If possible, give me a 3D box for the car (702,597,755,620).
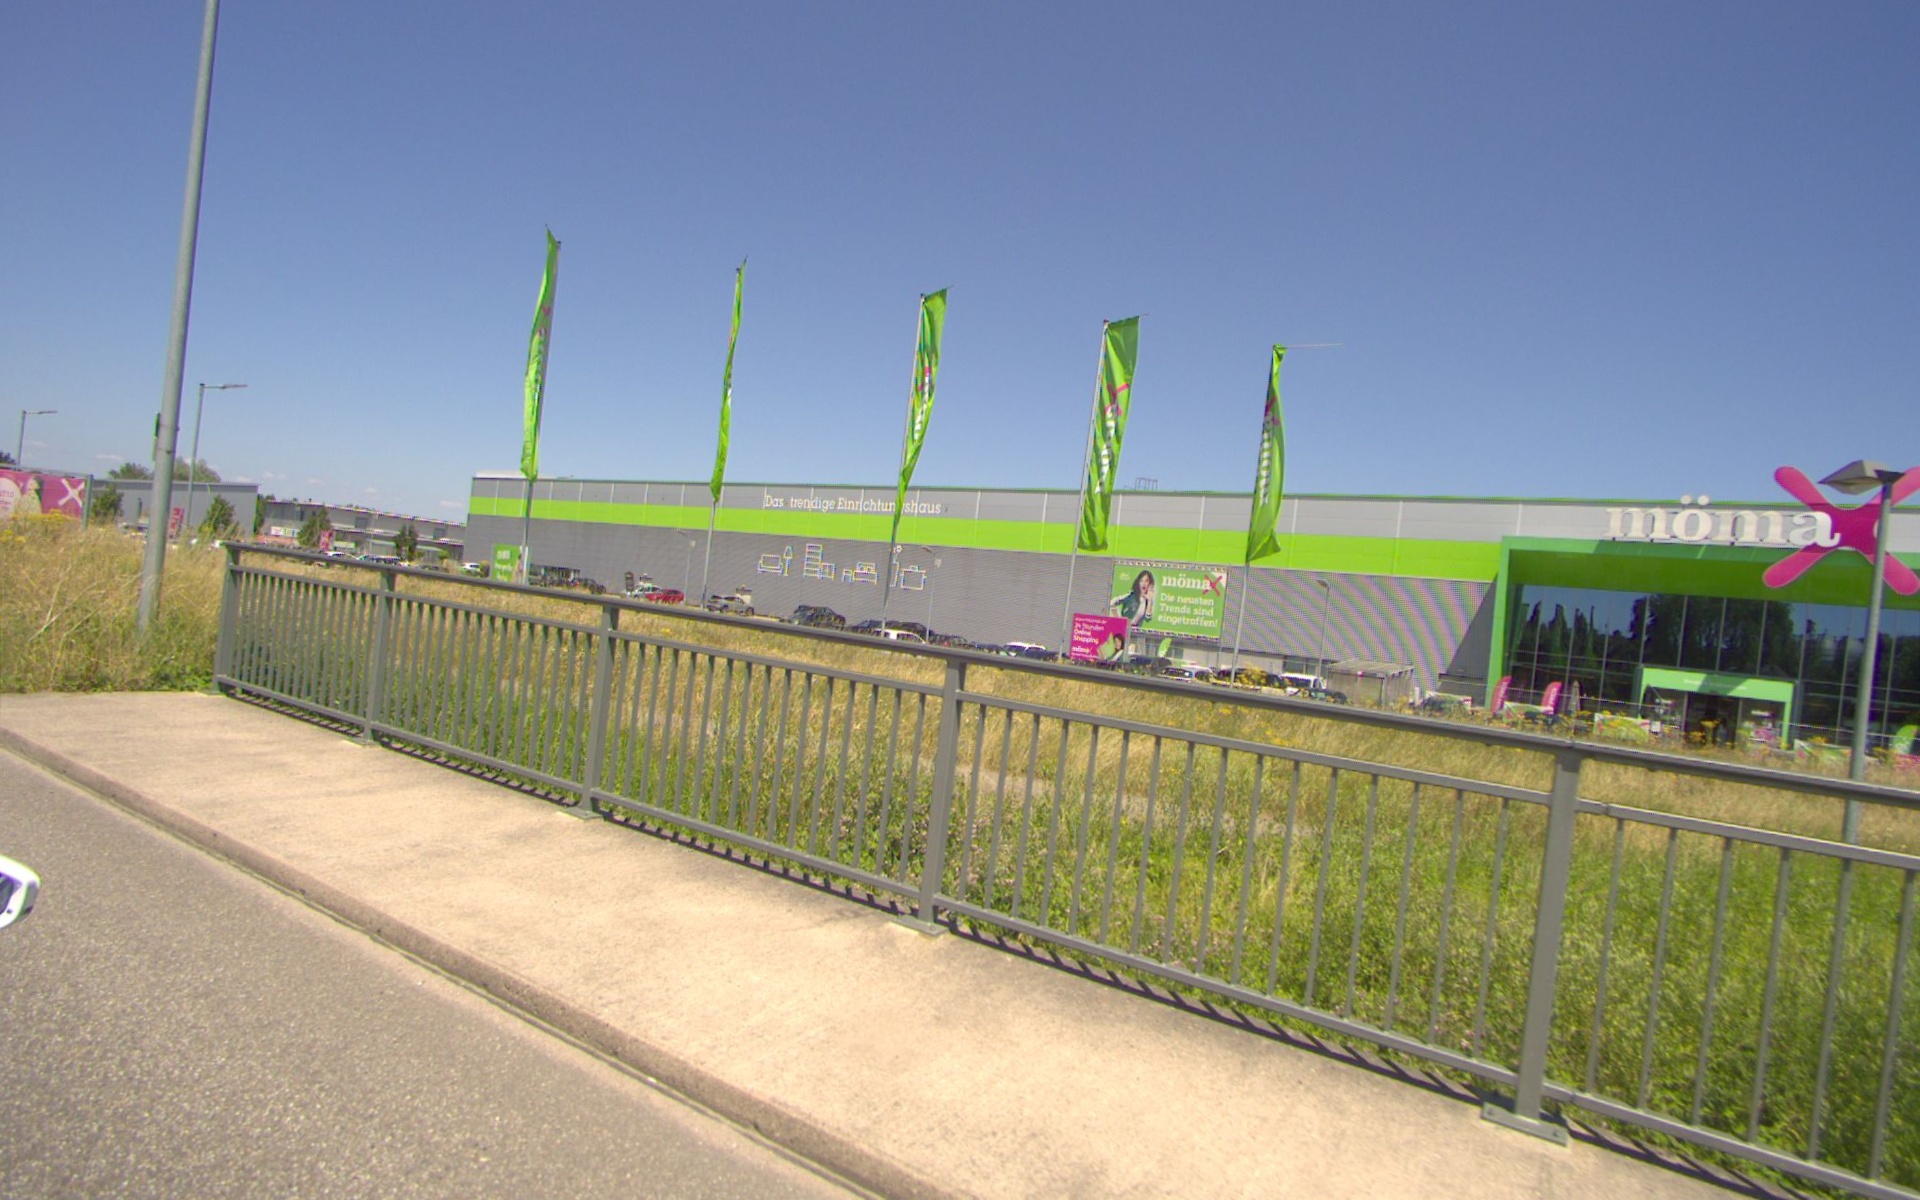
[{"bbox_3d":[-19.528,0.734,85.061,1.968,1.537,3.990,4,-2,33],"label":"car"}]

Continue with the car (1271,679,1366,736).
[{"bbox_3d":[12.543,3.697,35.079,1.887,1.674,3.984,5,-1,38],"label":"car"}]

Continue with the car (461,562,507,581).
[{"bbox_3d":[-52.323,-3.127,110.631,1.968,1.537,3.990,4,-2,33],"label":"car"}]

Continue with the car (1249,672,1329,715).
[{"bbox_3d":[14.047,3.971,42.876,1.919,1.523,3.984,5,-1,38],"label":"car"}]

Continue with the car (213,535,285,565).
[{"bbox_3d":[-50.944,-3.560,72.140,1.862,1.589,3.735,6,-2,38],"label":"car"}]

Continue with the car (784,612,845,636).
[{"bbox_3d":[-11.267,1.882,78.066,1.968,1.537,4.655,4,-2,33],"label":"car"}]

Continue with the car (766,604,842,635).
[{"bbox_3d":[-9.478,1.214,61.504,1.970,1.537,4.405,4,-2,37],"label":"car"}]

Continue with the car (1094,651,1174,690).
[{"bbox_3d":[8.121,3.282,46.729,1.919,1.523,3.984,5,-1,38],"label":"car"}]

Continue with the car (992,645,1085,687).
[{"bbox_3d":[3.328,2.792,41.961,1.919,1.480,3.984,5,-1,38],"label":"car"}]

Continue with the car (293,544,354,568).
[{"bbox_3d":[-55.945,-3.857,88.446,1.970,1.537,3.987,4,-2,36],"label":"car"}]

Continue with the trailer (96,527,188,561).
[{"bbox_3d":[-50.492,-3.439,62.153,1.737,1.414,3.989,6,-2,36],"label":"trailer"}]

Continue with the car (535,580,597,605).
[{"bbox_3d":[-30.204,-0.575,77.165,1.968,1.537,3.990,4,-2,33],"label":"car"}]

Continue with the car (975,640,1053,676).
[{"bbox_3d":[2.758,2.936,50.726,1.919,1.523,3.984,5,-1,38],"label":"car"}]

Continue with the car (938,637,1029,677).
[{"bbox_3d":[1.071,2.514,44.007,1.919,1.480,3.984,5,-1,38],"label":"car"}]

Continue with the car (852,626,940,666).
[{"bbox_3d":[-2.966,2.175,47.315,1.919,1.550,3.984,5,-1,38],"label":"car"}]

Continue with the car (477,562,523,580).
[{"bbox_3d":[-49.873,-3.154,109.058,1.968,1.537,3.990,4,-2,33],"label":"car"}]

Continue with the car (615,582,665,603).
[{"bbox_3d":[-29.418,-0.658,92.513,1.968,1.492,3.990,4,-2,33],"label":"car"}]

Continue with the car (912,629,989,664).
[{"bbox_3d":[-0.471,2.492,53.625,1.919,1.523,3.984,5,-1,38],"label":"car"}]

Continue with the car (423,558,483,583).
[{"bbox_3d":[-42.215,-2.443,83.846,1.968,1.537,3.990,4,-2,33],"label":"car"}]

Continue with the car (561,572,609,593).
[{"bbox_3d":[-36.891,-1.716,99.002,1.968,1.537,3.990,4,-2,33],"label":"car"}]

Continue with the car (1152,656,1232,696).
[{"bbox_3d":[10.498,3.446,45.318,1.919,1.523,3.984,5,-1,38],"label":"car"}]

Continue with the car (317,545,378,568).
[{"bbox_3d":[-52.578,-3.713,86.370,1.970,1.537,3.987,4,-2,36],"label":"car"}]

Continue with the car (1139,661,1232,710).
[{"bbox_3d":[8.694,3.267,38.572,1.887,1.566,3.984,5,-1,38],"label":"car"}]

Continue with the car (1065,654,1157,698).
[{"bbox_3d":[6.106,3.059,40.338,1.887,1.480,3.984,5,-1,38],"label":"car"}]

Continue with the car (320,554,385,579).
[{"bbox_3d":[-49.675,-2.751,82.287,1.968,1.537,3.990,4,-2,33],"label":"car"}]

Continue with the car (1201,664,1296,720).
[{"bbox_3d":[10.542,3.327,36.630,1.887,1.718,3.984,5,-1,38],"label":"car"}]

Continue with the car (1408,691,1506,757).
[{"bbox_3d":[15.577,3.804,31.418,1.887,1.674,3.984,5,-1,38],"label":"car"}]

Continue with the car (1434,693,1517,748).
[{"bbox_3d":[18.802,4.332,36.617,1.887,1.674,3.984,5,-1,38],"label":"car"}]

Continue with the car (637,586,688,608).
[{"bbox_3d":[-26.831,-0.282,90.845,1.968,1.537,3.990,4,-2,33],"label":"car"}]

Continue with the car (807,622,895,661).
[{"bbox_3d":[-5.213,2.032,48.621,1.919,1.550,3.984,5,-1,38],"label":"car"}]
